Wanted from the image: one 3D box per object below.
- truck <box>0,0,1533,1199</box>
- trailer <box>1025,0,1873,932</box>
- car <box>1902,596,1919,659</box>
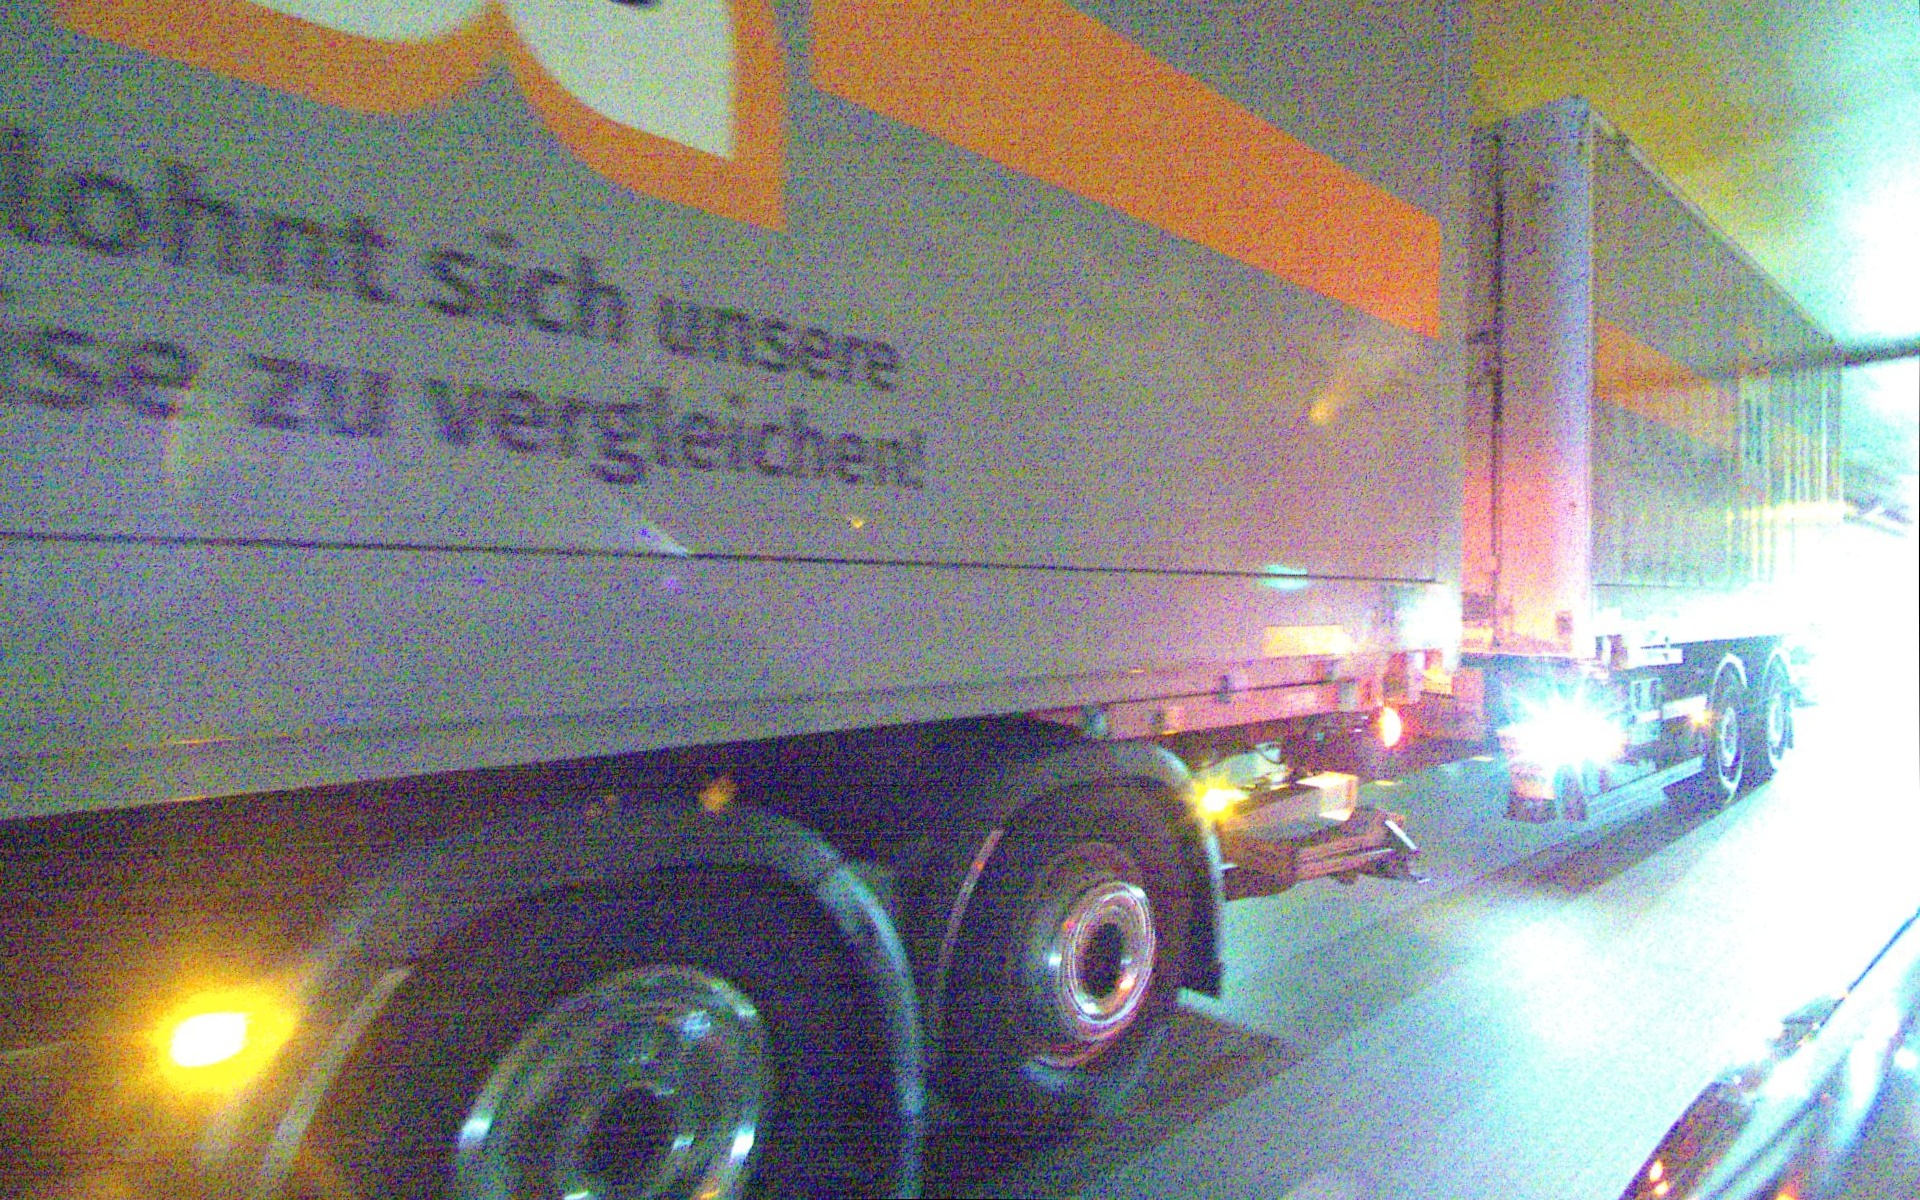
[{"bbox_3d":[-2.303,-0.635,1.855,9.738,3.963,2.892,0,-1,-42],"label":"truck"},{"bbox_3d":[4.635,-0.624,8.045,8.792,3.908,2.879,0,-1,-41],"label":"trailer"},{"bbox_3d":[23.868,0.619,24.125,3.734,1.421,1.733,-1,-1,-42],"label":"car"}]
